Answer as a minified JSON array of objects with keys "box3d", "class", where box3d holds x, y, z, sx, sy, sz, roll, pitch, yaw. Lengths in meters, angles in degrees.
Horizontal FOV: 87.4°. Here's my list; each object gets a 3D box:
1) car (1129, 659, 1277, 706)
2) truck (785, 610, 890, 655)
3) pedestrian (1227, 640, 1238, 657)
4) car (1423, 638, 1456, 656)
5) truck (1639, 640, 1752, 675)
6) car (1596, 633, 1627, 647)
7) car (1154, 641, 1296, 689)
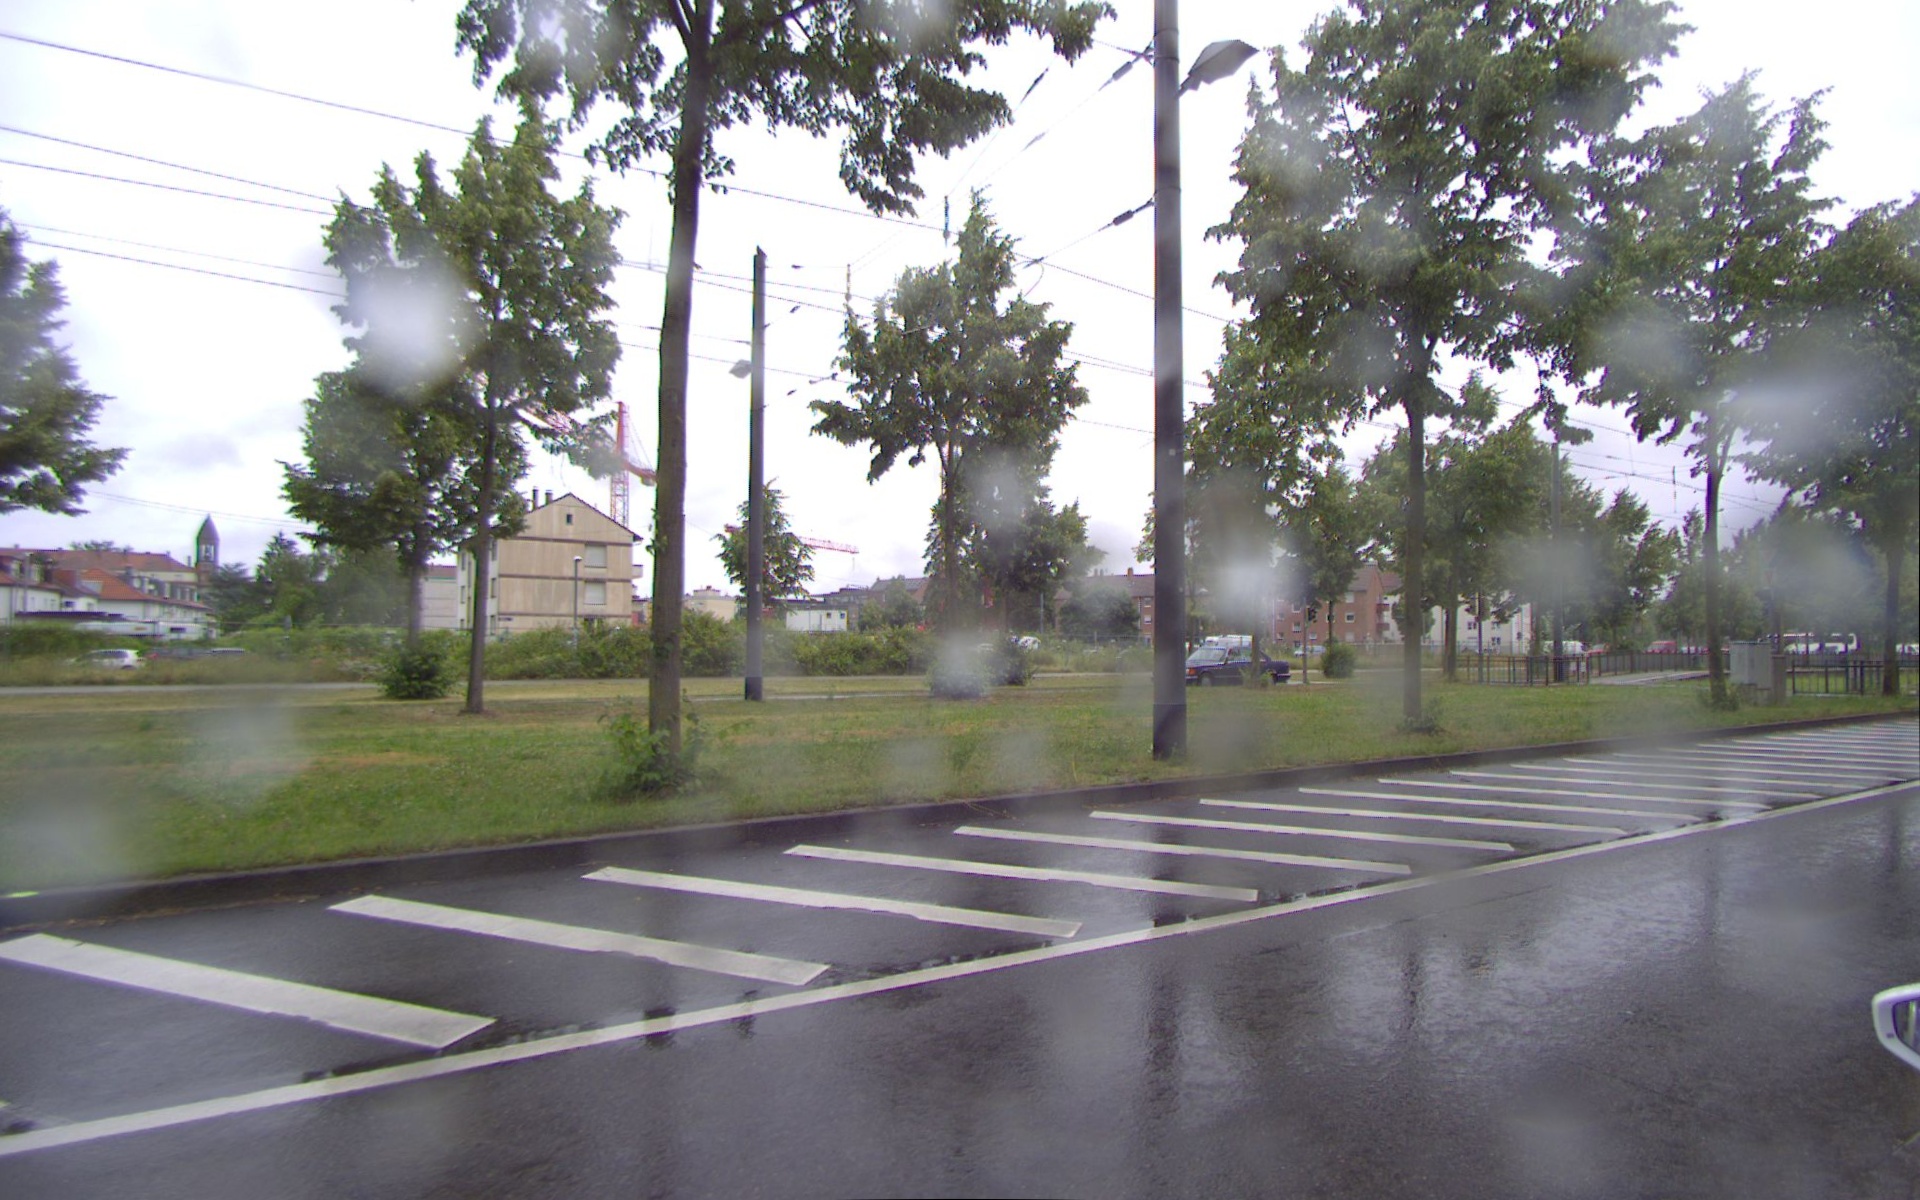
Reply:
[{"box3d":[7.417,2.475,30.427,4.926,1.314,1.479,3,-4,-34],"class":"car"},{"box3d":[-15.787,4.134,130.514,6.102,5.467,13.265,-3,-2,36],"class":"truck"},{"box3d":[27.087,4.808,99.804,0.691,1.693,0.671,-1,-1,-41],"class":"pedestrian"},{"box3d":[60.108,5.904,125.975,3.958,2.040,1.982,-1,-2,-34],"class":"car"},{"box3d":[102.999,8.083,141.042,12.273,4.653,3.395,-3,-1,31],"class":"truck"},{"box3d":[89.004,5.504,137.279,3.483,1.761,1.701,-3,-2,33],"class":"car"},{"box3d":[8.267,1.976,31.150,4.804,1.283,1.539,0,-2,-36],"class":"car"}]
